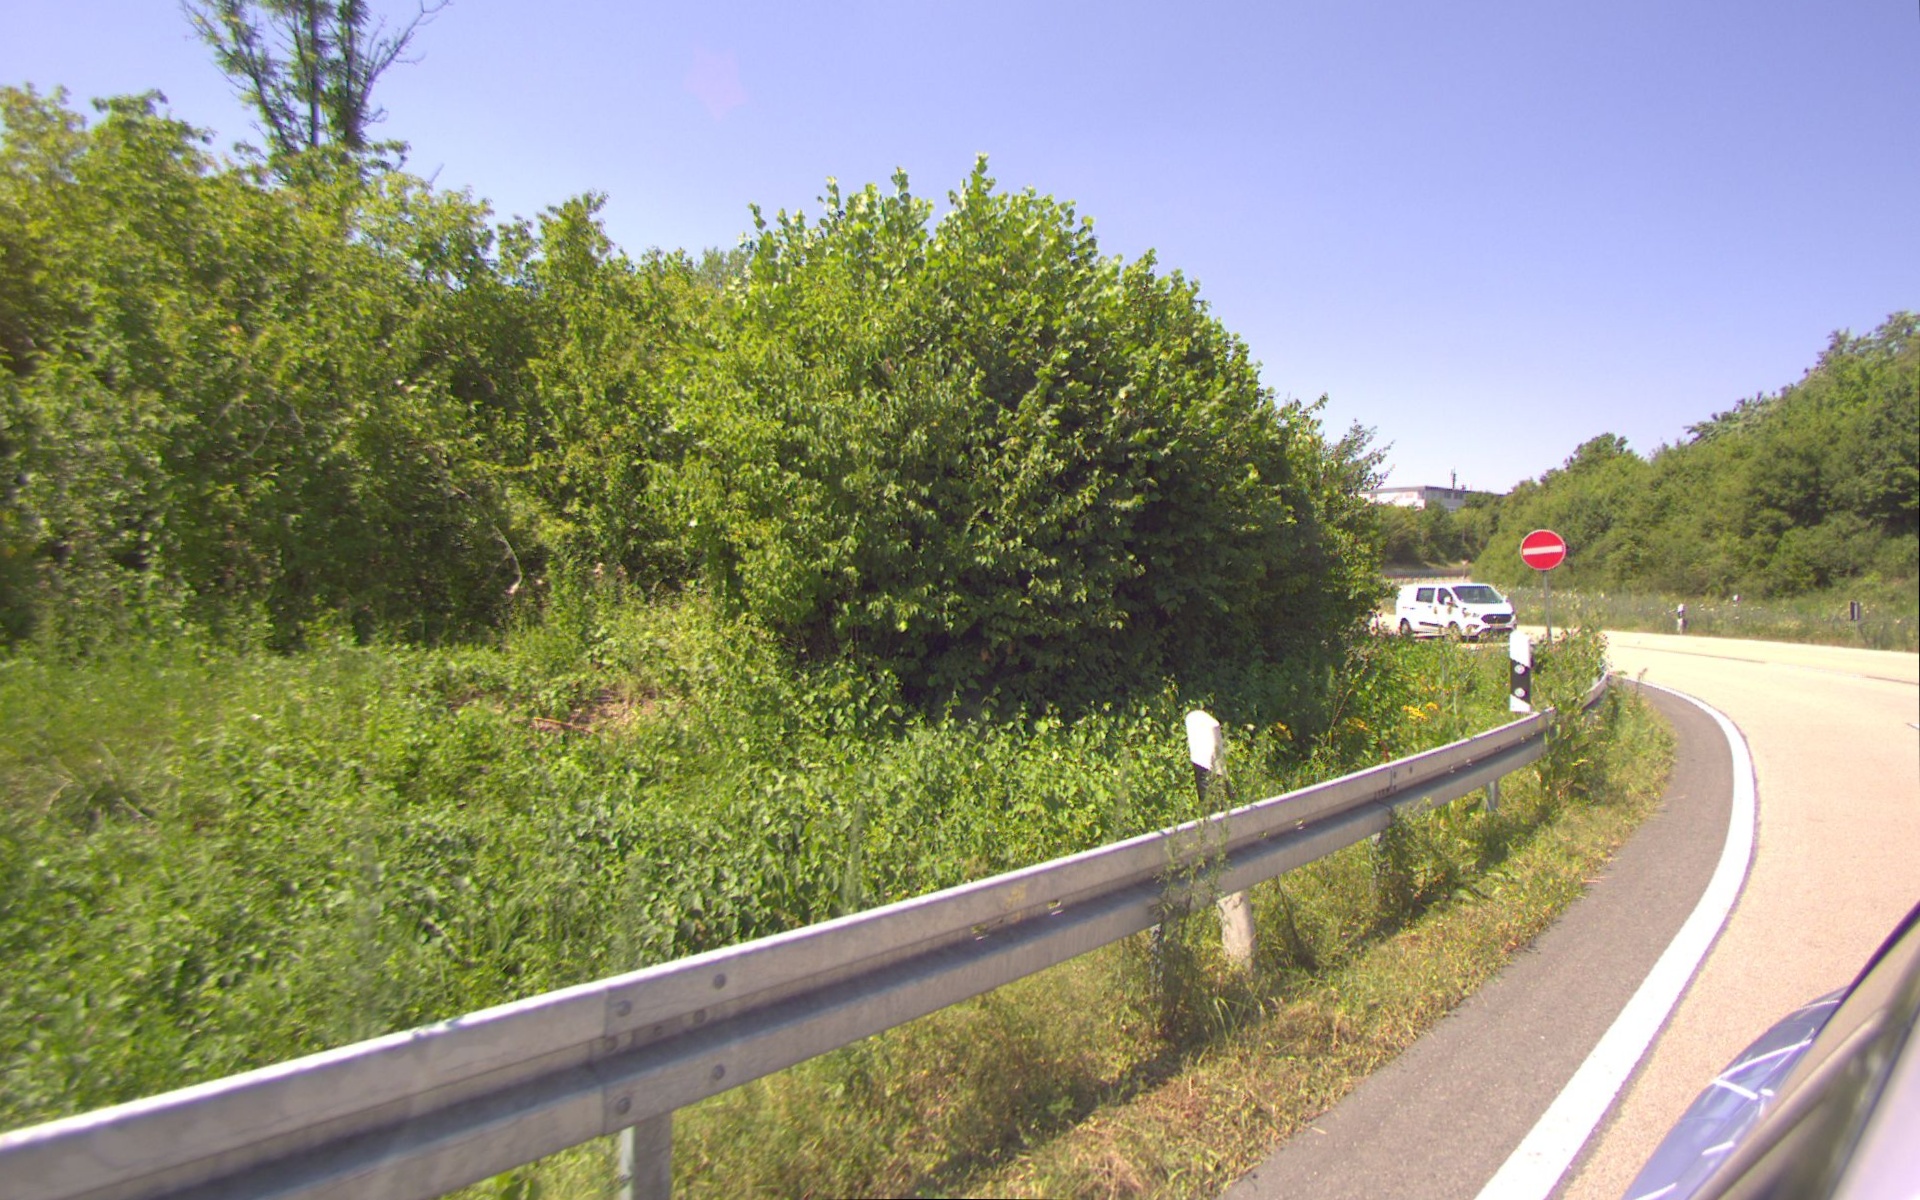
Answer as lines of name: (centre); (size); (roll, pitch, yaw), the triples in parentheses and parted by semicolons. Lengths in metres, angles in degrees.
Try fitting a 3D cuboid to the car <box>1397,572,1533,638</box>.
car: (17.575, 0.128, 35.558); (2.024, 2.039, 5.044); (-3, 1, -2)
